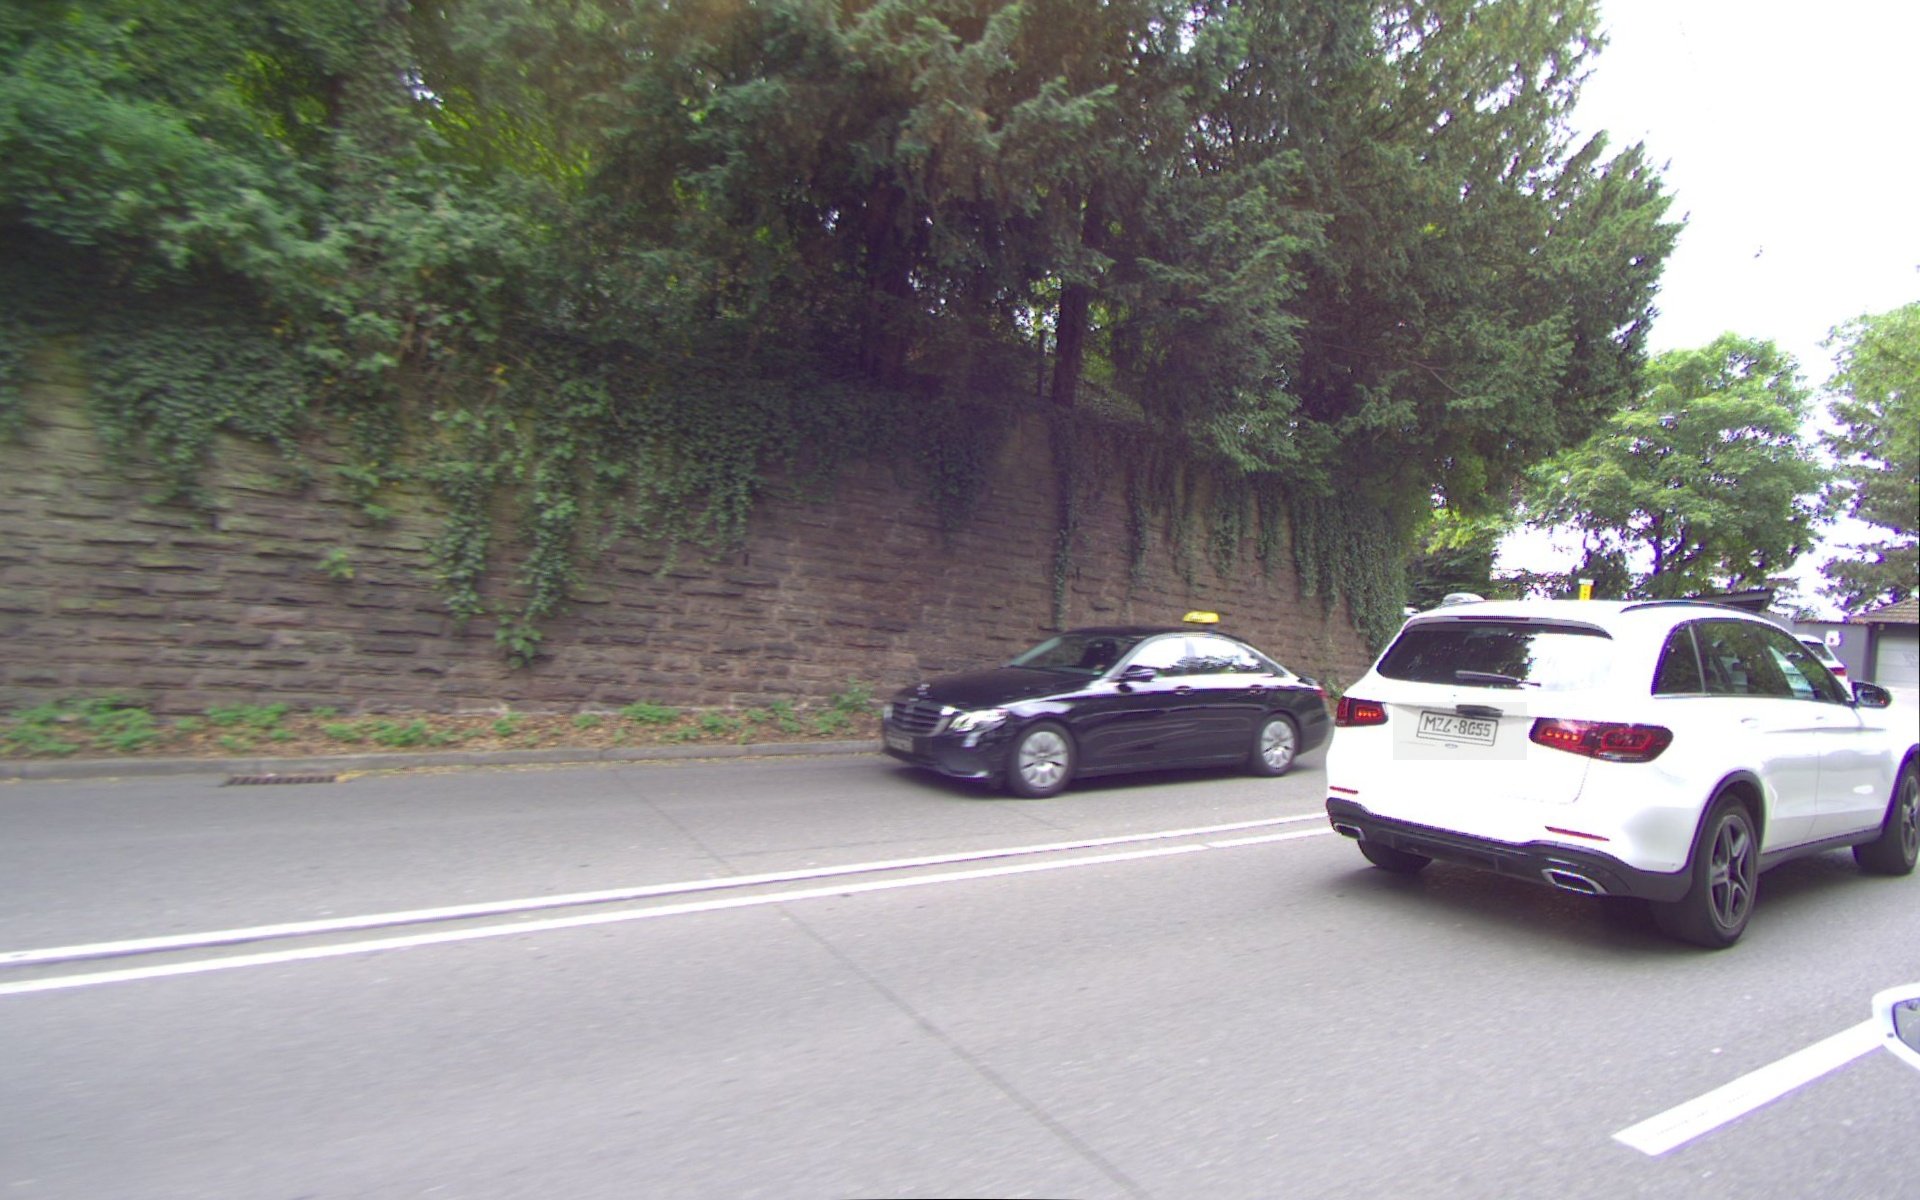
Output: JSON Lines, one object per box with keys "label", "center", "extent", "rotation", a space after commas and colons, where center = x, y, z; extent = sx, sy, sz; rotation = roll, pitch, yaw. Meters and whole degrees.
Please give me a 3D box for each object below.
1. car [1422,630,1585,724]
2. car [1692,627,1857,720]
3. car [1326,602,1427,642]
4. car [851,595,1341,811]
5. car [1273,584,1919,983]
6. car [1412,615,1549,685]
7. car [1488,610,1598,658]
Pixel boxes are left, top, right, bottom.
{"label": "car", "center": [9.237, 1.210, 16.928], "extent": [1.749, 1.357, 3.943], "rotation": [0, -1, 39]}
{"label": "car", "center": [15.536, 1.302, 19.420], "extent": [1.838, 1.554, 4.766], "rotation": [0, -1, 31]}
{"label": "car", "center": [16.946, 0.853, 41.133], "extent": [1.634, 1.459, 4.285], "rotation": [1, 0, -12]}
{"label": "car", "center": [1.432, 0.852, 9.604], "extent": [4.583, 1.618, 1.850], "rotation": [2, -1, -35]}
{"label": "car", "center": [4.197, 0.844, 6.161], "extent": [4.621, 1.626, 1.848], "rotation": [2, -2, -33]}
{"label": "car", "center": [13.760, 1.257, 26.862], "extent": [1.739, 1.675, 4.389], "rotation": [1, -1, 6]}
{"label": "car", "center": [21.757, 1.243, 37.642], "extent": [1.602, 1.438, 3.852], "rotation": [5, 1, -4]}
